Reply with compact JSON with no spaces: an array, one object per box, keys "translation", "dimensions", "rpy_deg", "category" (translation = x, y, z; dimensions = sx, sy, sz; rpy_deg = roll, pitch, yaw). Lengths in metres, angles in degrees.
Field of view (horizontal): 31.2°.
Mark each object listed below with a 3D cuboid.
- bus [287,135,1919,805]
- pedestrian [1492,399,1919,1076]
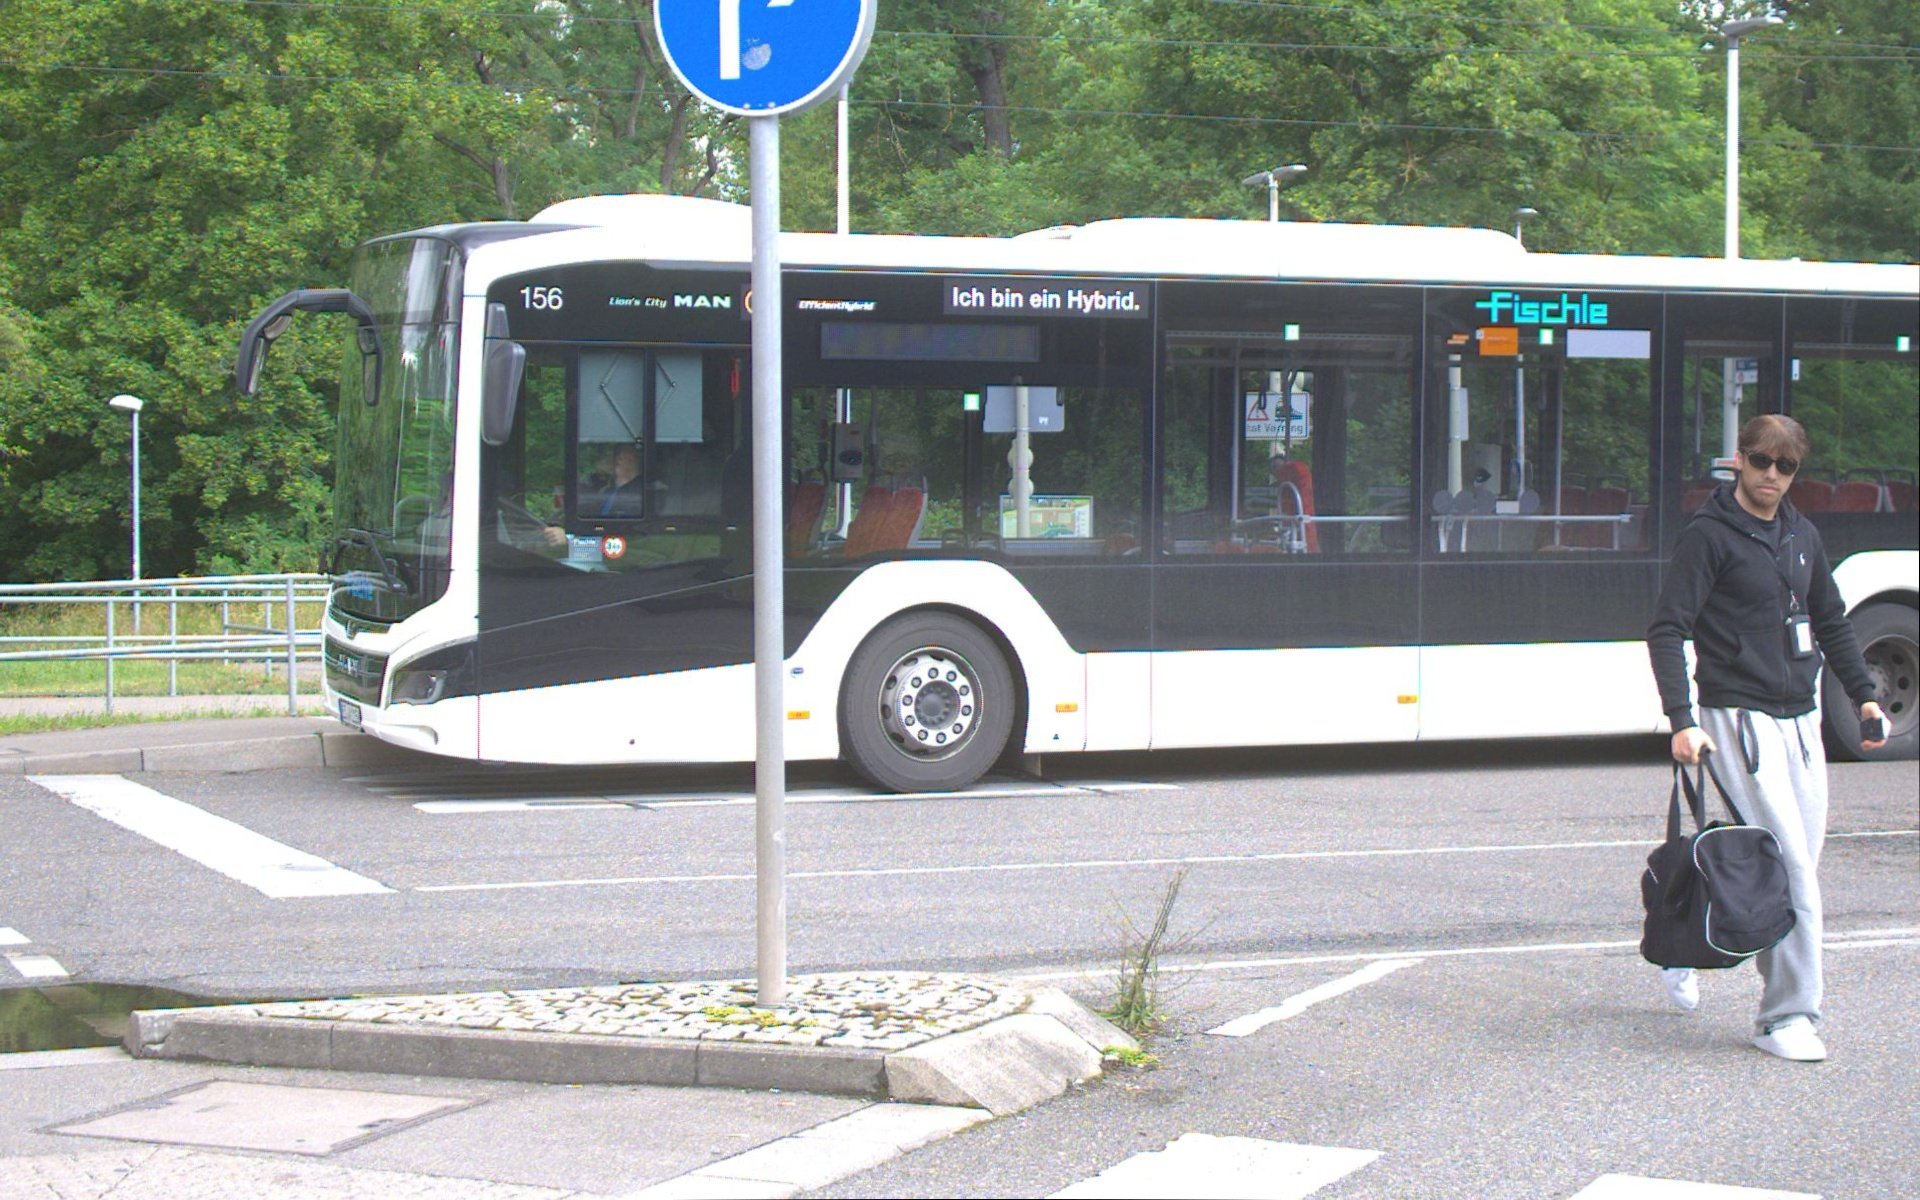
[{"translation":[2.446,-0.685,19.914],"dimensions":[12.156,3.192,2.676],"rpy_deg":[0,1,-22],"category":"bus"},{"translation":[2.118,0.347,9.466],"dimensions":[0.954,1.741,1.062],"rpy_deg":[0,1,-12],"category":"pedestrian"}]
